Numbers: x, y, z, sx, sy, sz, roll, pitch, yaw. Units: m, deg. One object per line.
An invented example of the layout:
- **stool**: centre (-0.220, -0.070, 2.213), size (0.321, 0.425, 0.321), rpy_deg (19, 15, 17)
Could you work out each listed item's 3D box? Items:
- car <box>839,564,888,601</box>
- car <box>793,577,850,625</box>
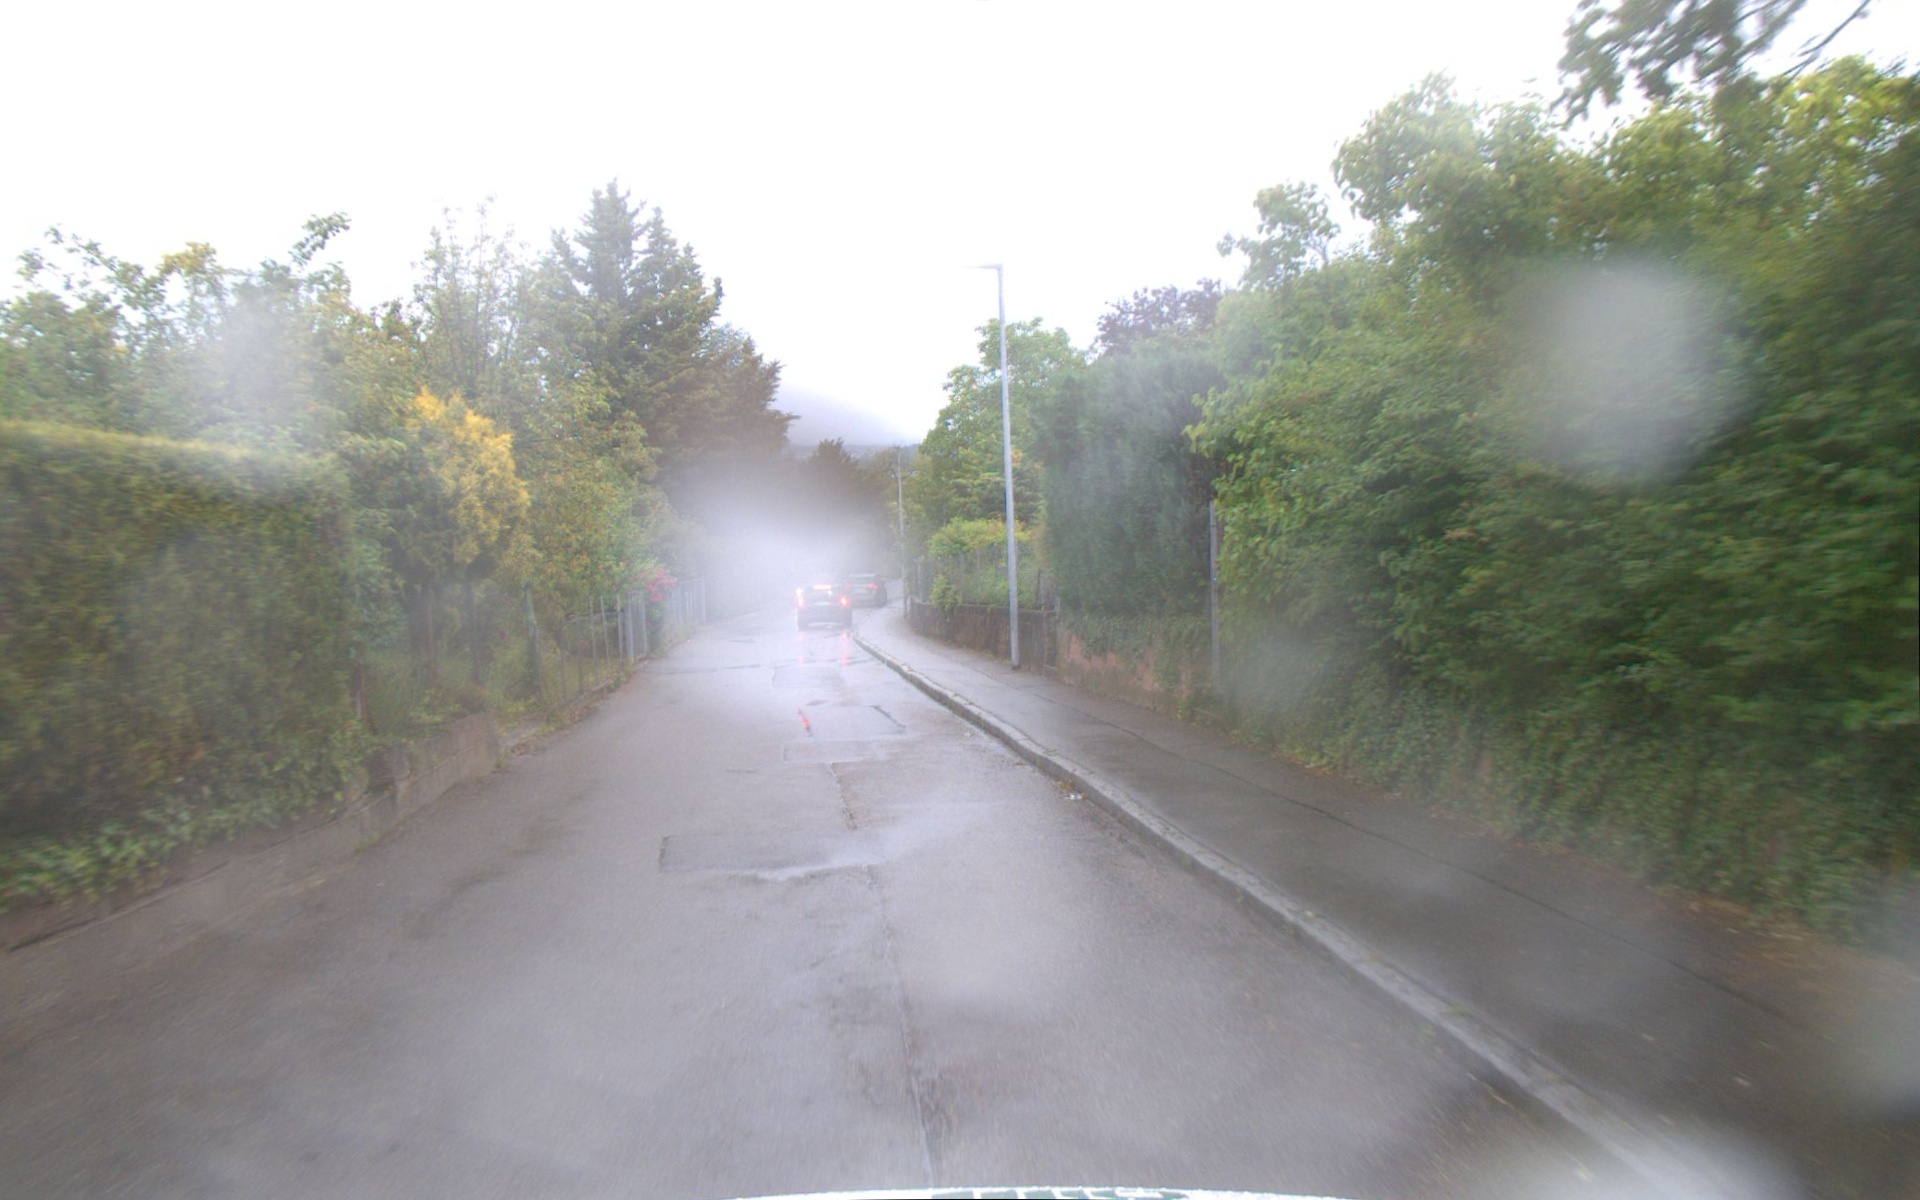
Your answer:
- **car**: centre (-4.521, -0.850, 77.944), size (1.642, 1.592, 3.798), rpy_deg (0, 2, 6)
- **car**: centre (-4.612, 0.026, 55.383), size (1.799, 1.489, 3.997), rpy_deg (2, 0, -4)
